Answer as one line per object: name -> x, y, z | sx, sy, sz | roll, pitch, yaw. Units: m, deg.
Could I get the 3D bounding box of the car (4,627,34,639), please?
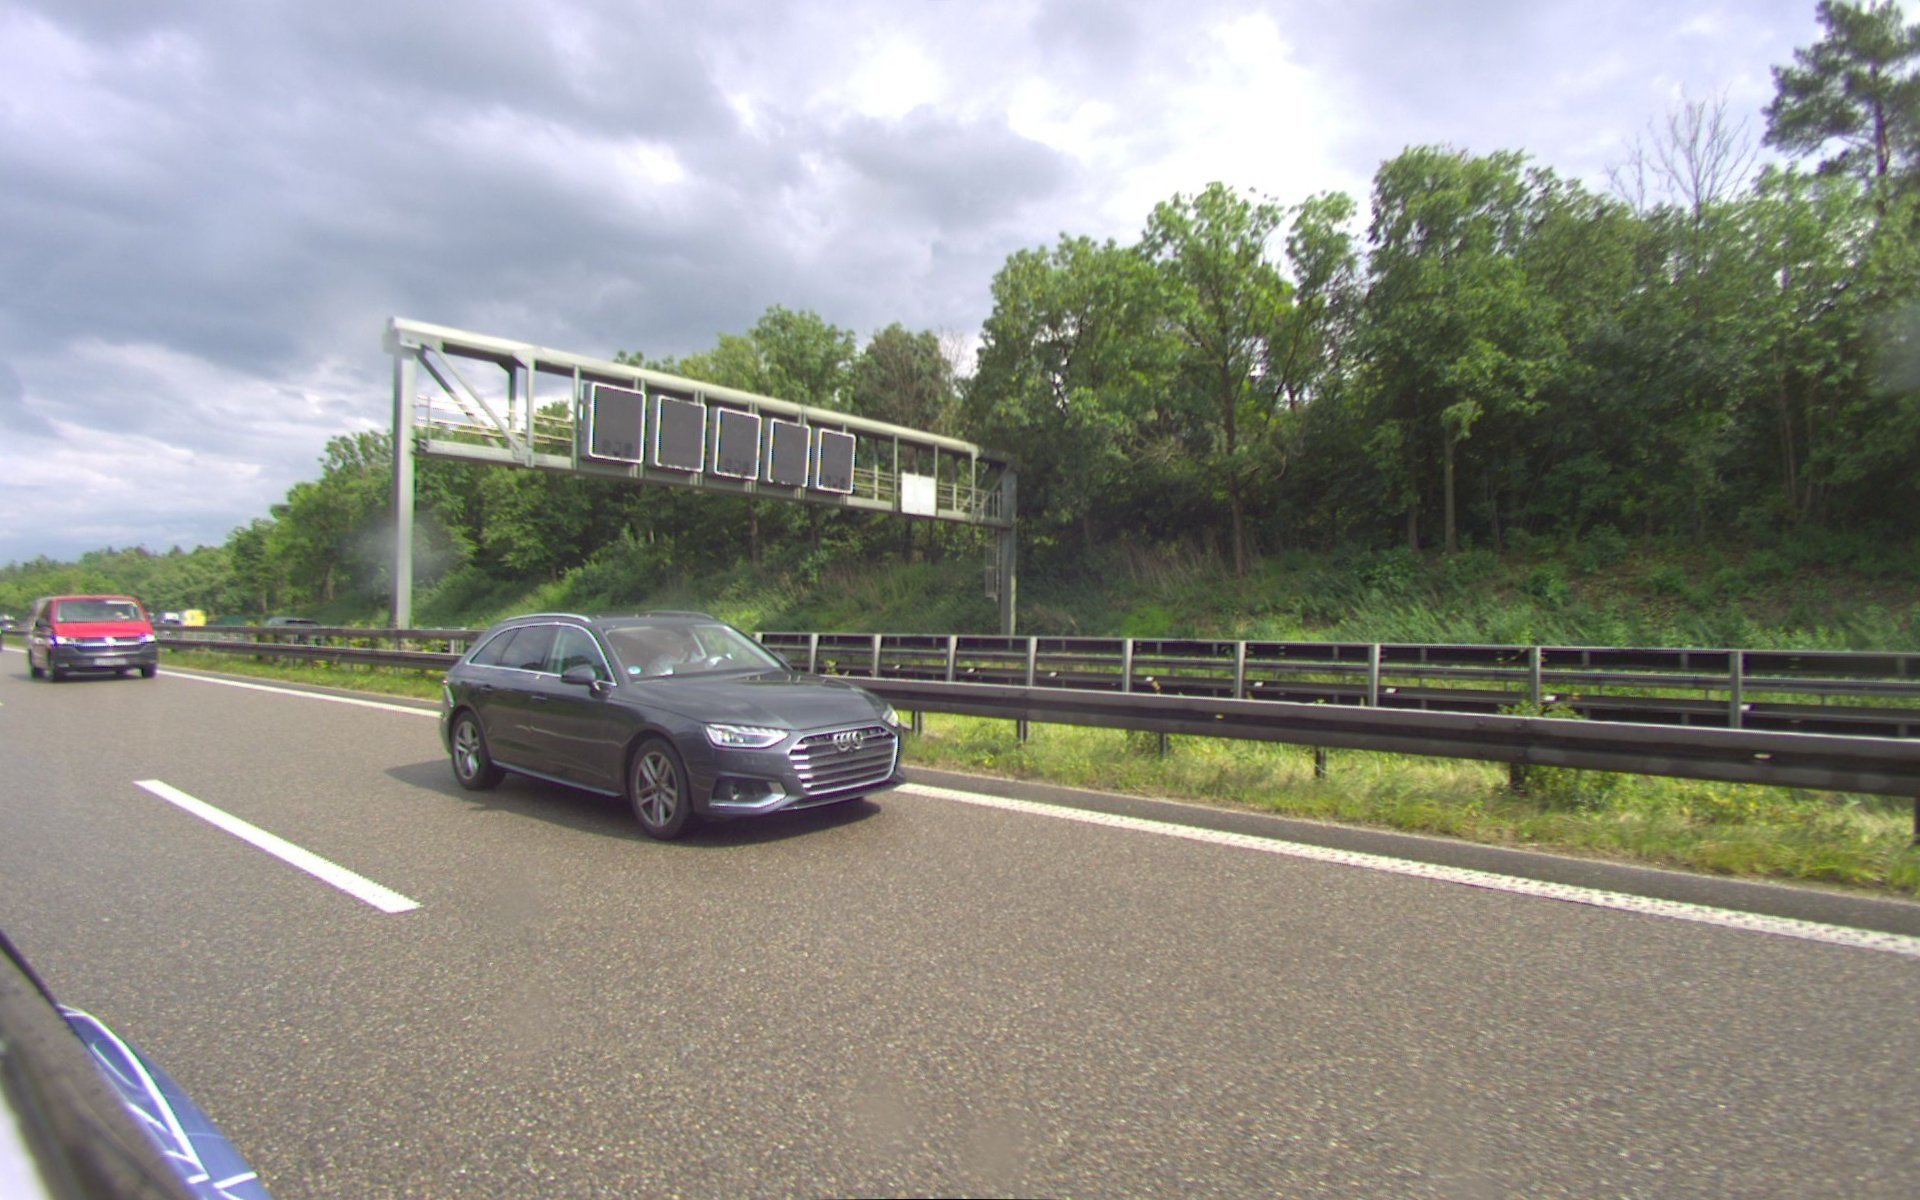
car -> -93.285, 3.246, 100.335 | 3.999, 1.136, 1.807 | -1, 0, 42

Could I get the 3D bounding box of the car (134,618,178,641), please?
car -> -59.777, 2.172, 75.207 | 4.234, 1.675, 1.835 | -1, 0, 41

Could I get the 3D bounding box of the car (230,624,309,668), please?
car -> -28.614, 1.864, 41.899 | 4.110, 1.675, 1.748 | -1, 0, 41

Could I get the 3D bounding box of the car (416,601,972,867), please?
car -> -2.306, 0.753, 7.777 | 4.838, 1.429, 1.775 | -1, 0, 42

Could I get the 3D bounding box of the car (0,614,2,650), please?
car -> -42.435, 1.361, 43.131 | 4.838, 1.508, 1.983 | -1, 0, 42

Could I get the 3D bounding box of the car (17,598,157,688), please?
car -> -20.531, 0.931, 23.726 | 4.838, 1.880, 1.901 | -1, 0, 42
